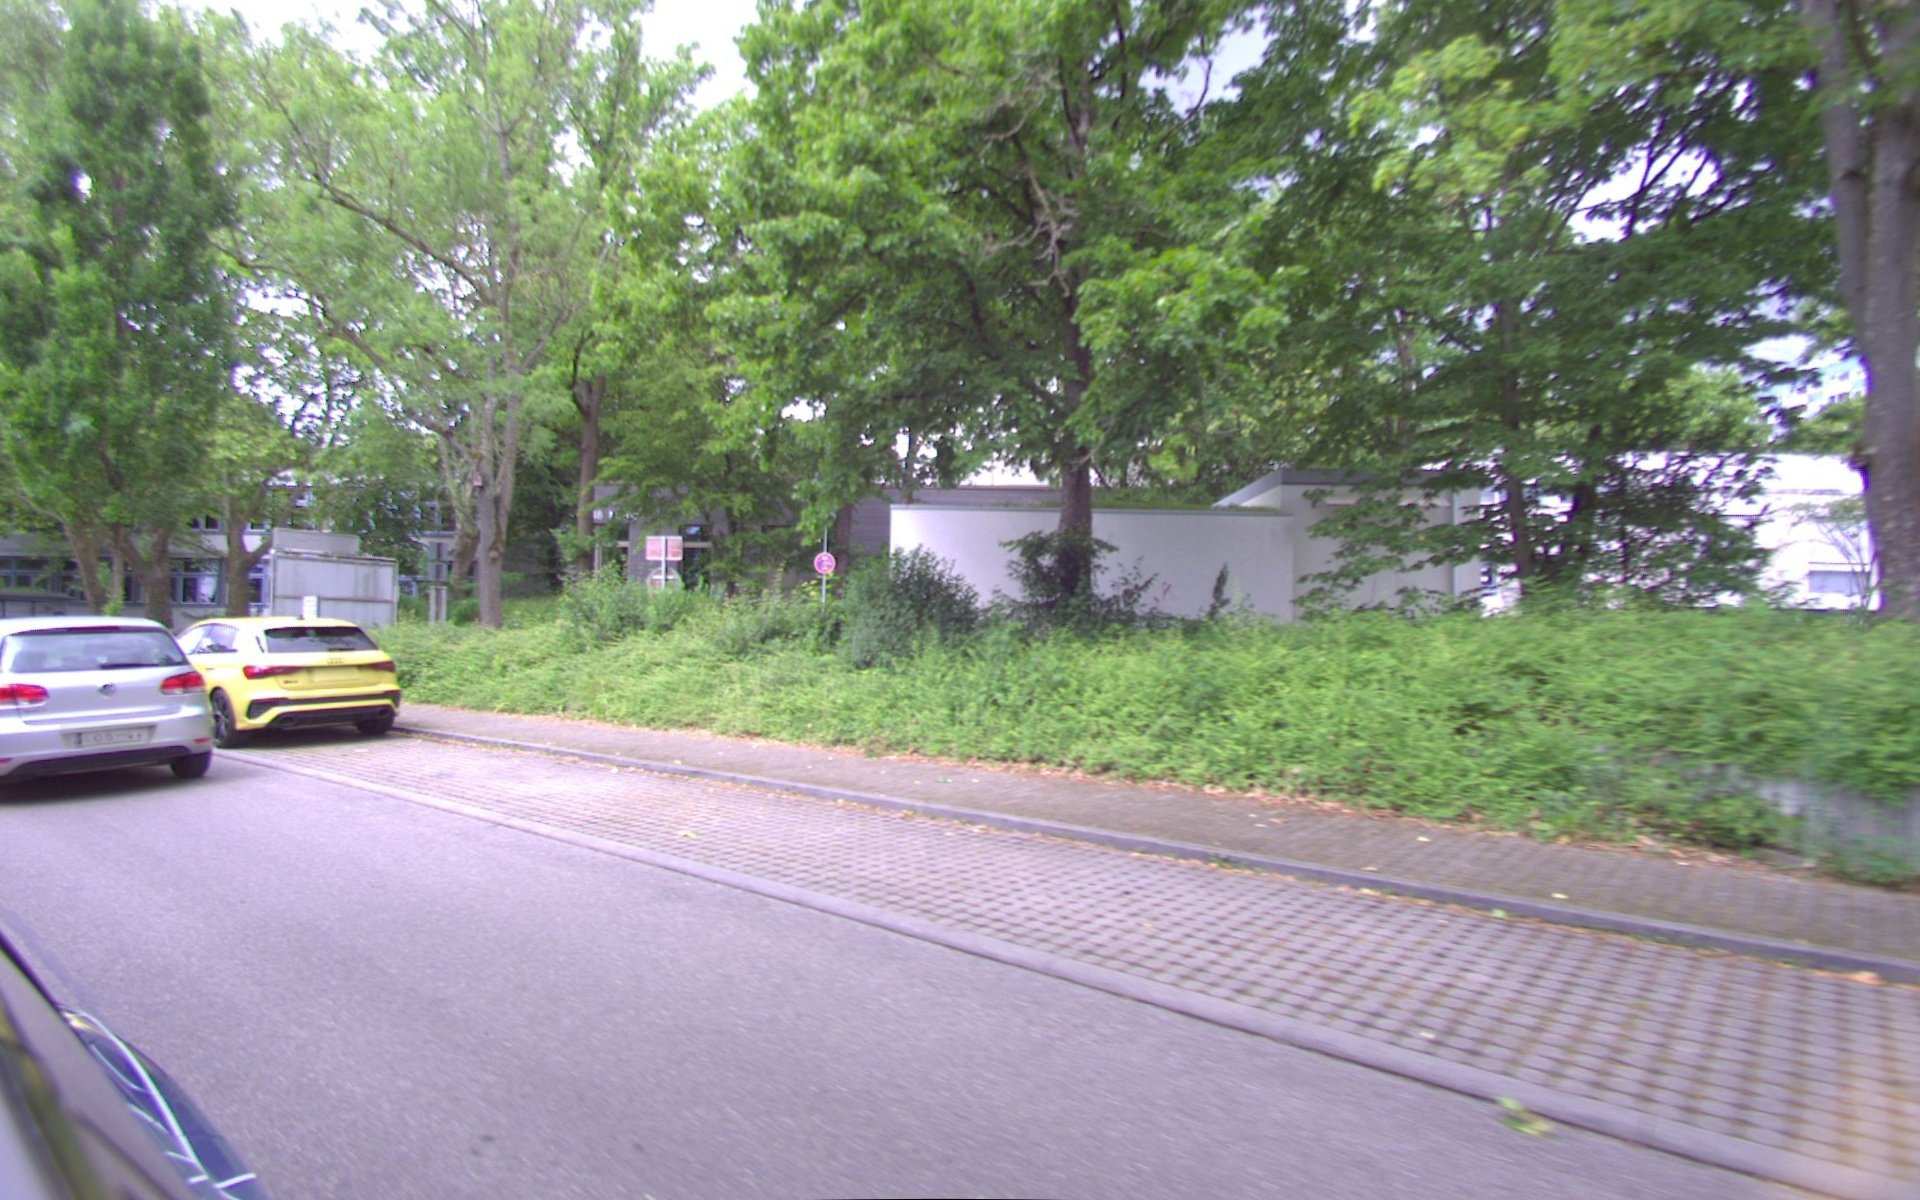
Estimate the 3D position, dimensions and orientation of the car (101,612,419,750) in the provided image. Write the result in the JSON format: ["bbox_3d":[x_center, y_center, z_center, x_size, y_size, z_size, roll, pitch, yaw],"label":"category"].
[{"bbox_3d":[-8.520,0.860,12.216,4.261,1.413,1.686,-1,-1,33],"label":"car"}]

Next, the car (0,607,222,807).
[{"bbox_3d":[-8.459,0.847,9.226,4.053,1.474,1.661,-2,-1,36],"label":"car"}]
